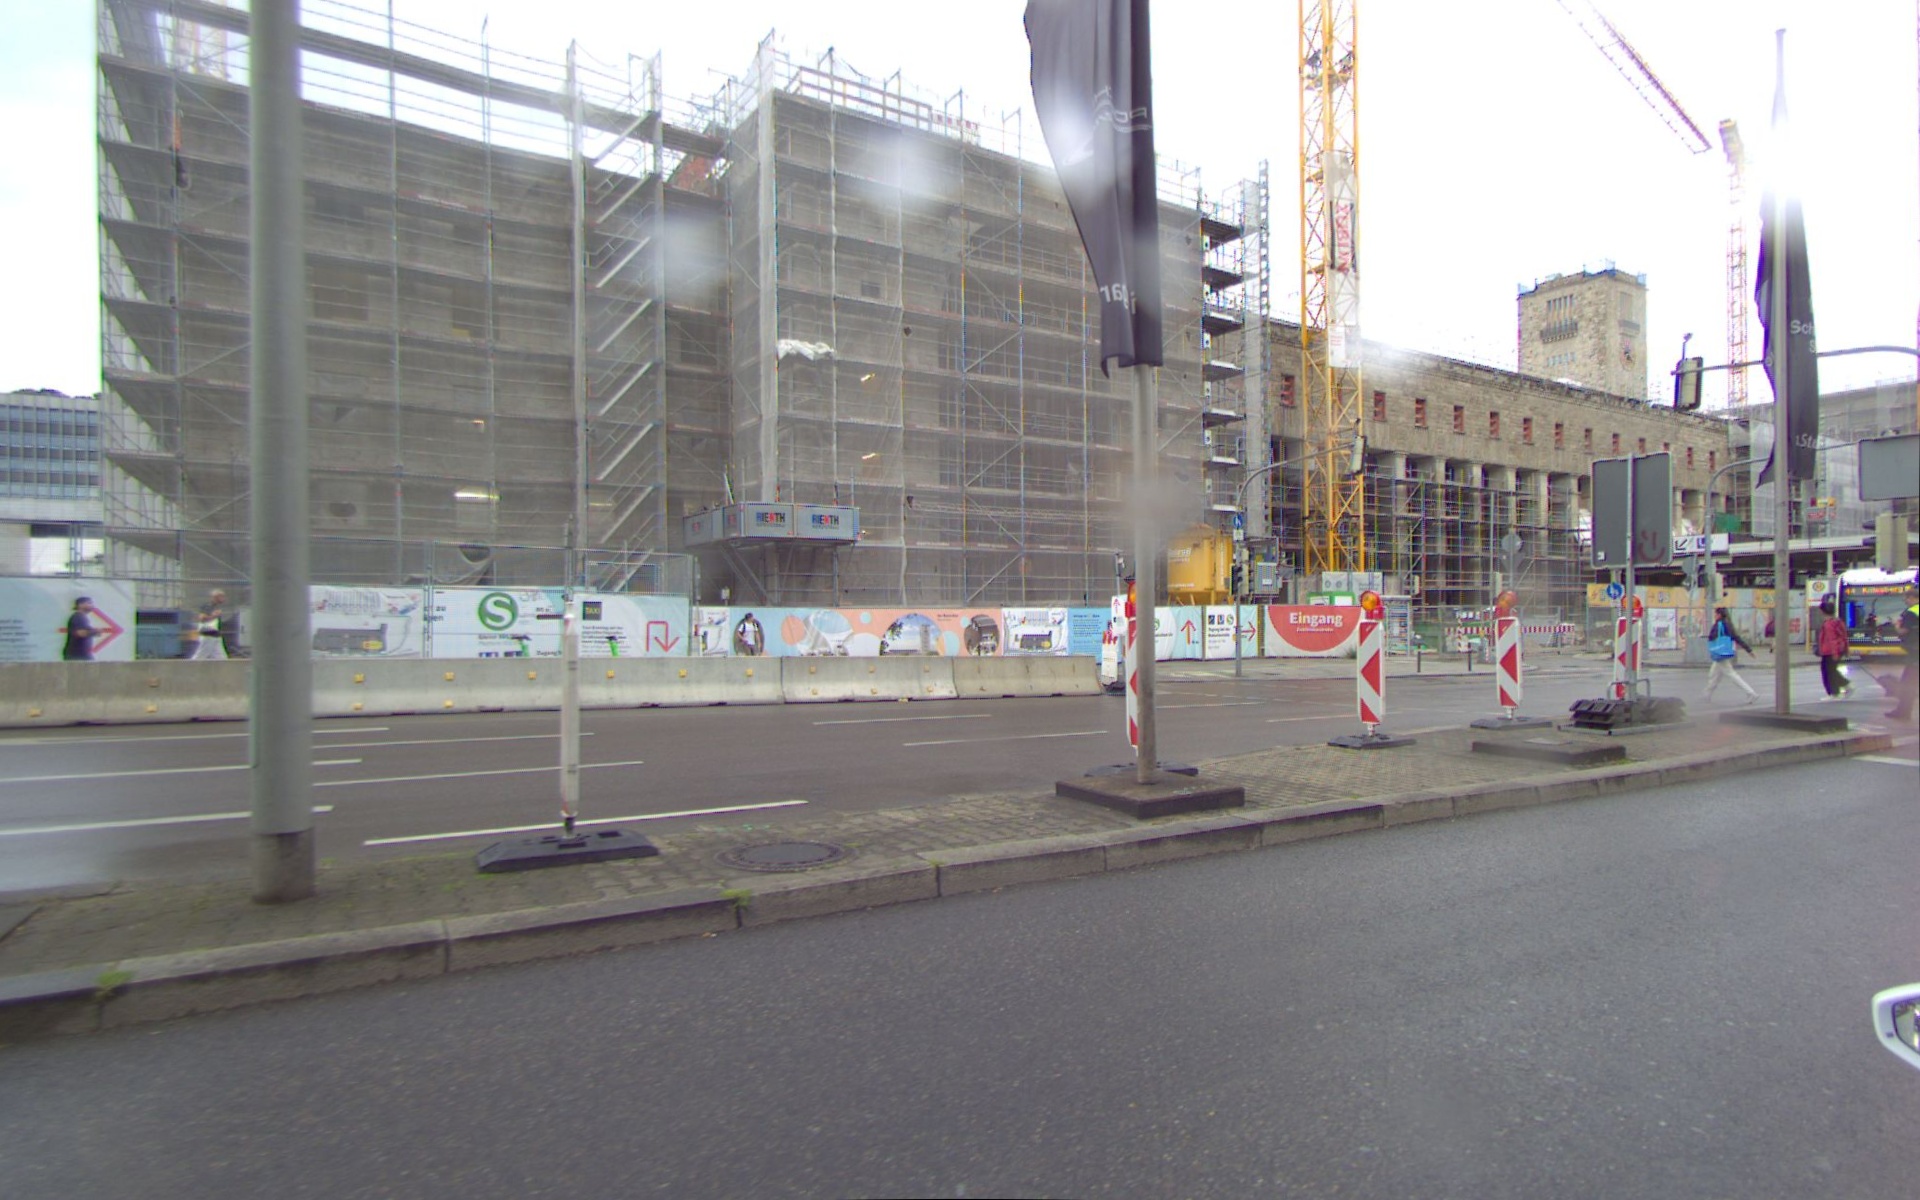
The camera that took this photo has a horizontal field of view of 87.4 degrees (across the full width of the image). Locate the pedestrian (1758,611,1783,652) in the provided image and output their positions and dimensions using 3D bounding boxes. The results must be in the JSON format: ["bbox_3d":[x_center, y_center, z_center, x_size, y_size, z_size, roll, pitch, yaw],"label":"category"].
[{"bbox_3d":[37.171,1.436,46.040,0.789,1.879,0.658,1,-1,-30],"label":"pedestrian"}]

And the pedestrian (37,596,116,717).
[{"bbox_3d":[-13.964,0.877,15.902,0.810,1.860,0.576,1,0,-30],"label":"pedestrian"}]

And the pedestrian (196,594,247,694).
[{"bbox_3d":[-14.093,0.827,19.186,0.709,1.860,0.478,1,0,-30],"label":"pedestrian"}]

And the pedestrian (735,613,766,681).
[{"bbox_3d":[-5.819,1.291,27.901,0.709,1.860,0.478,1,0,-30],"label":"pedestrian"}]

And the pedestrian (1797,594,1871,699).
[{"bbox_3d":[14.869,0.787,17.094,0.613,1.740,0.794,1,-2,-33],"label":"pedestrian"}]

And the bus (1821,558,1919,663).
[{"bbox_3d":[36.758,0.462,38.406,10.119,3.650,2.655,1,0,-30],"label":"bus"}]

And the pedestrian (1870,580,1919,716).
[{"bbox_3d":[13.402,0.667,14.179,0.810,1.860,0.576,1,0,-30],"label":"pedestrian"}]

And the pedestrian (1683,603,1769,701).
[{"bbox_3d":[13.080,0.867,17.162,0.890,1.584,0.909,1,0,-33],"label":"pedestrian"}]
